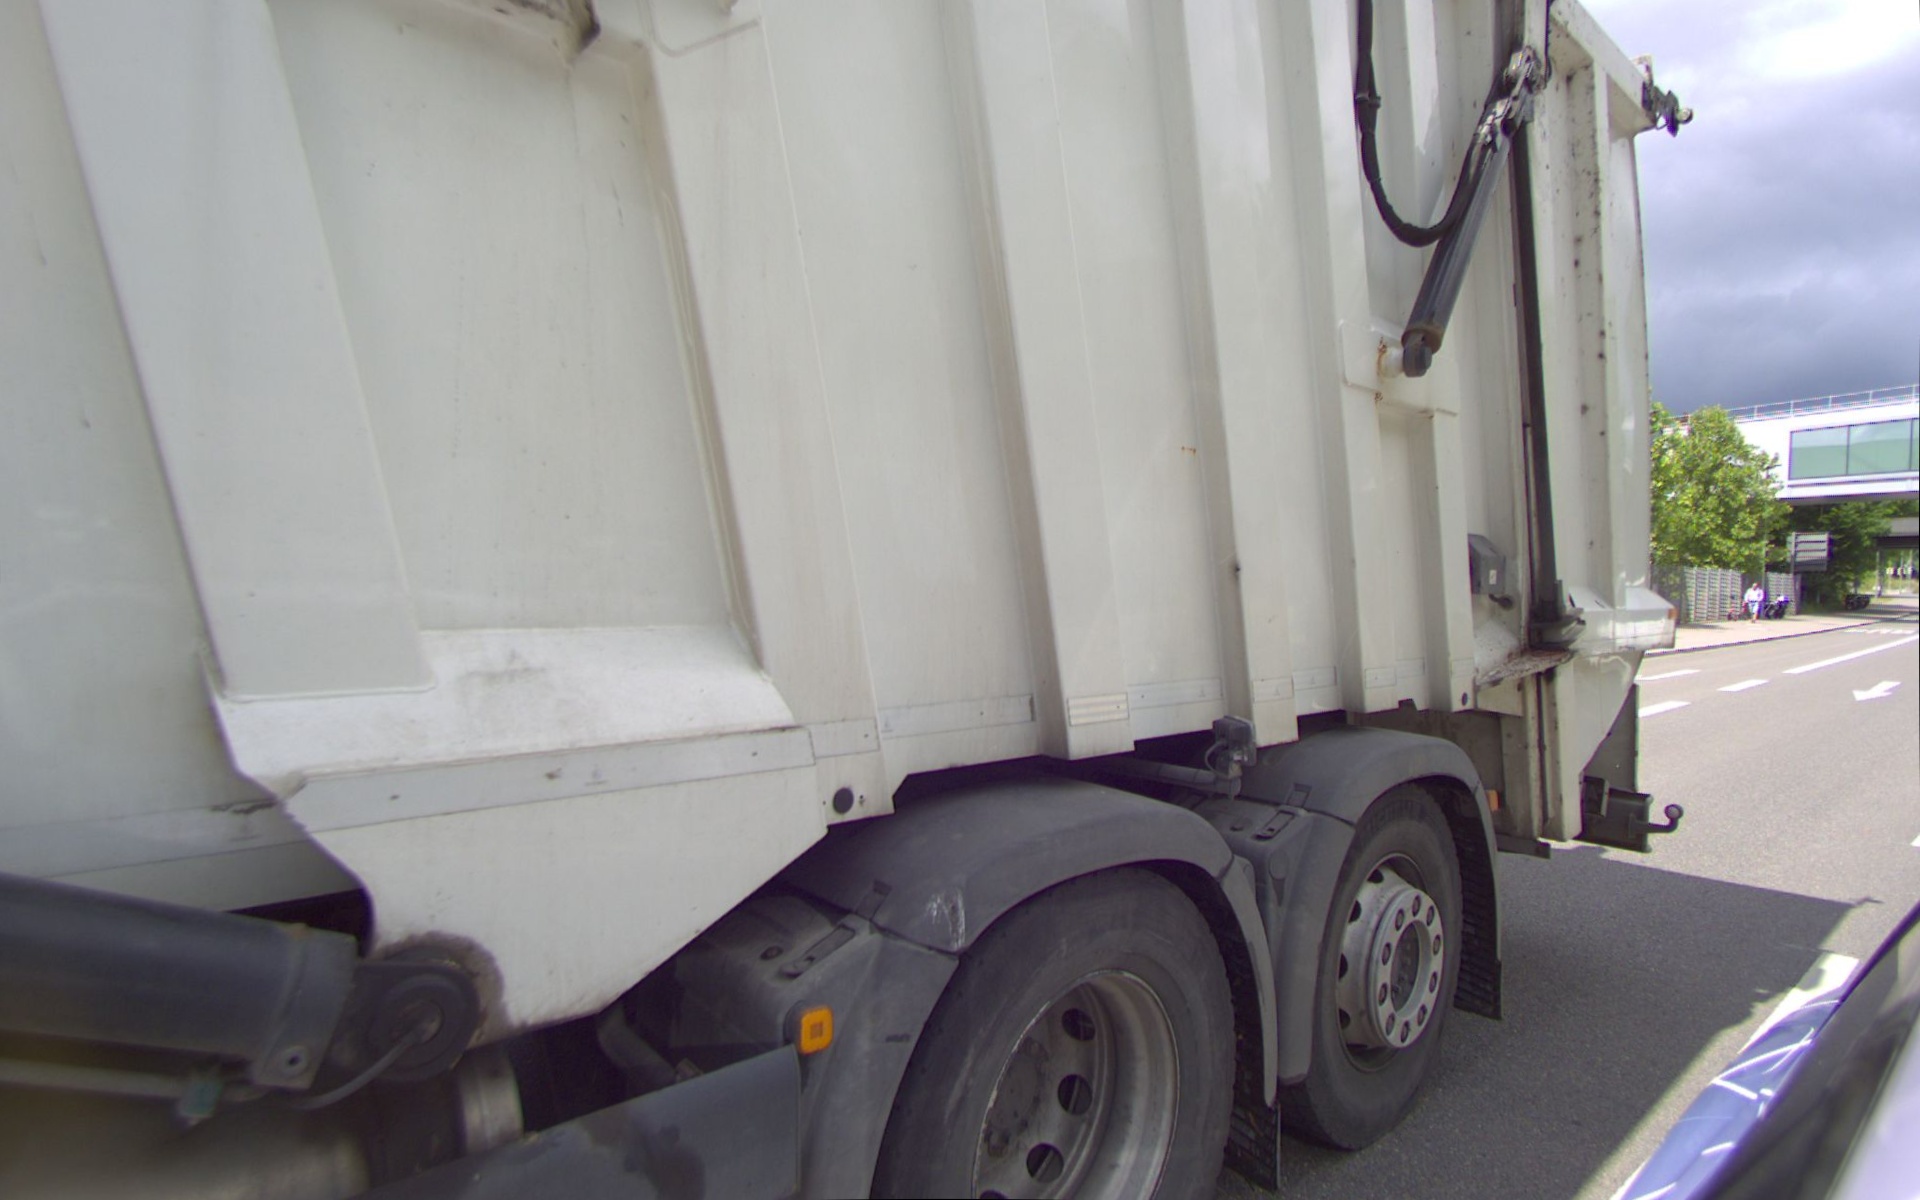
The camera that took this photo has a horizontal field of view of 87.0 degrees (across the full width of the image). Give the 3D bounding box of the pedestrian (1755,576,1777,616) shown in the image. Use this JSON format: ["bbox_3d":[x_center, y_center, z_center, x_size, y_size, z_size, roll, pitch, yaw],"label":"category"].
[{"bbox_3d":[39.173,-0.205,49.183,0.647,1.936,0.738,0,0,-44],"label":"pedestrian"}]

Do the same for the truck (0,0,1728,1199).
[{"bbox_3d":[-0.865,-0.571,2.437,9.999,3.962,2.492,-1,0,-42],"label":"truck"}]
